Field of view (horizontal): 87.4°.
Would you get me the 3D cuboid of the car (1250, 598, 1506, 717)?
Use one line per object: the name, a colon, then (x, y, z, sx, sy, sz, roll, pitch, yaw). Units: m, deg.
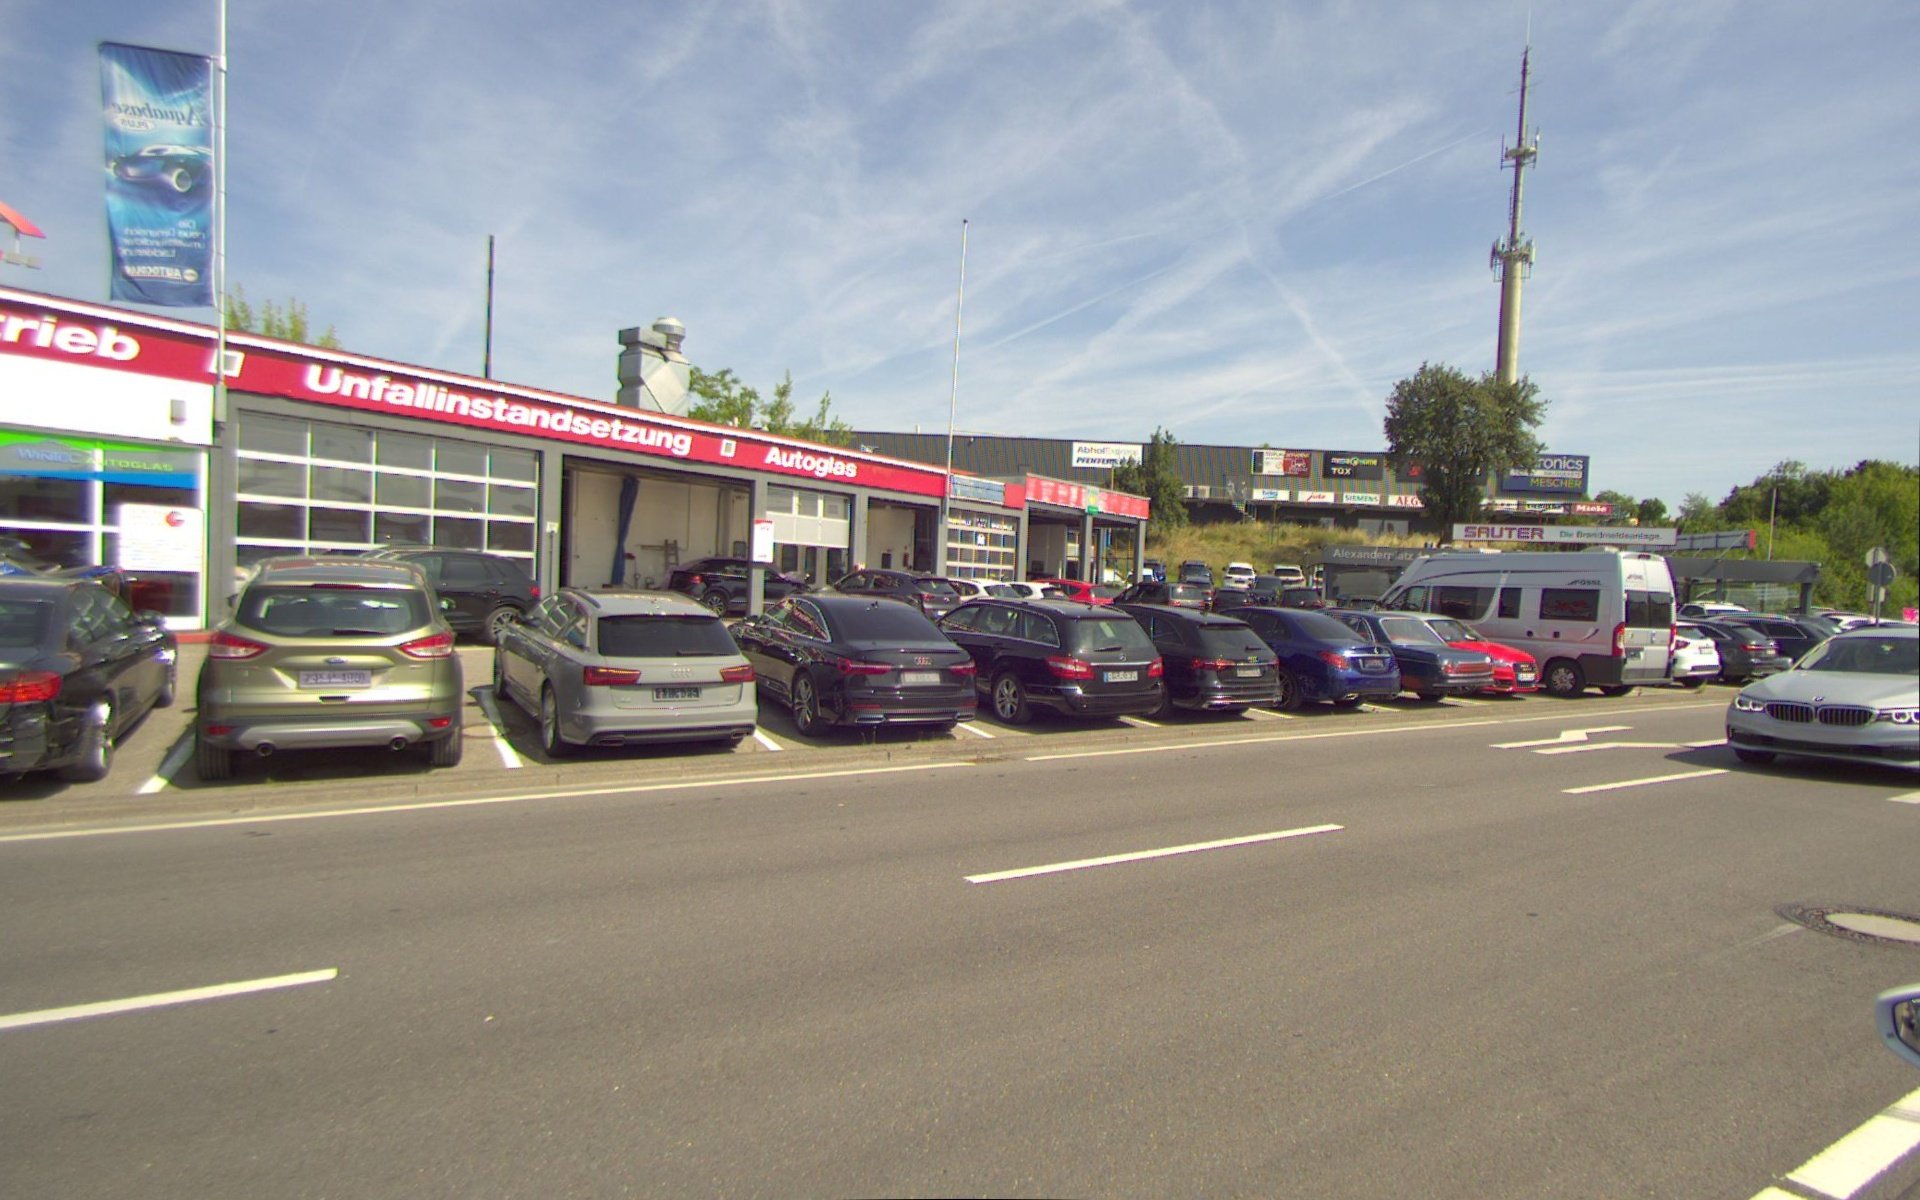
car: (7.038, 0.885, 17.271, 1.689, 1.505, 3.686, 1, 4, -32)

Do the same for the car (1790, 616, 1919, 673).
car: (31.051, 1.479, 34.061, 2.089, 1.716, 4.528, 1, 0, 0)

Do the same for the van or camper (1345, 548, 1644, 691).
van or camper: (12.238, 0.339, 23.556, 2.262, 2.912, 5.863, 1, 1, -30)

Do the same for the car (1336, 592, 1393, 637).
car: (15.405, 0.539, 38.181, 1.736, 1.609, 3.825, 2, 0, 26)

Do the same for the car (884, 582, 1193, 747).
car: (0.825, 0.695, 13.406, 1.752, 1.505, 4.433, 1, 4, -32)

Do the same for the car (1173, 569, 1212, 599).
car: (12.812, -0.847, 55.167, 1.702, 1.470, 3.749, 3, 1, 18)

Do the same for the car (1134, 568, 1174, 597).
car: (10.807, -0.943, 55.764, 1.702, 1.470, 3.749, 3, 1, 18)

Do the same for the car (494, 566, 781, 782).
car: (-3.534, 0.564, 10.407, 1.816, 1.505, 4.252, 1, 4, -32)

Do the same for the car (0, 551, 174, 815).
car: (-7.603, 0.490, 7.963, 1.772, 1.546, 3.686, 1, 4, -32)

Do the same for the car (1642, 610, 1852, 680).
car: (19.854, 1.084, 25.490, 1.822, 1.560, 3.796, 1, 0, -31)

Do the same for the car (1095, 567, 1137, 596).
car: (8.808, -1.040, 56.429, 1.702, 1.470, 3.749, 3, 1, 18)

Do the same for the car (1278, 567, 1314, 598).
car: (17.905, -0.915, 53.681, 1.702, 1.470, 3.749, 3, 1, 18)

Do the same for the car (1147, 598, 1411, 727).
car: (4.844, 0.851, 15.720, 1.689, 1.577, 3.686, 0, 3, -32)

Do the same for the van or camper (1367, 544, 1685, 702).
van or camper: (11.255, 0.360, 20.459, 2.184, 2.768, 5.221, 1, 1, -29)

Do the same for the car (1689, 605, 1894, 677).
car: (21.907, 1.028, 26.604, 1.822, 1.698, 3.796, 1, 0, -31)

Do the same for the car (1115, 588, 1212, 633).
car: (7.688, 0.375, 38.262, 1.744, 1.609, 3.808, 1, 0, -23)

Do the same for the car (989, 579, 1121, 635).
car: (2.968, 0.201, 31.629, 3.767, 1.609, 1.763, 2, 0, 36)

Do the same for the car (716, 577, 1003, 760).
car: (-1.415, 0.651, 12.106, 1.777, 1.505, 4.276, 1, 4, -30)

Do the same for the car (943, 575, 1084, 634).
car: (1.547, 0.112, 29.493, 3.767, 1.609, 1.763, 2, 0, 36)

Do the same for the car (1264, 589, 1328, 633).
car: (13.272, 0.432, 39.854, 1.733, 1.609, 3.831, 1, 0, 9)

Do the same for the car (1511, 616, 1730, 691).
car: (15.058, 1.167, 23.091, 1.822, 1.467, 3.796, 1, 0, -31)

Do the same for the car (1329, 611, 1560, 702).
car: (9.109, 1.000, 19.134, 1.791, 1.500, 3.577, 1, 0, -30)

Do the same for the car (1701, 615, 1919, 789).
car: (10.393, 0.994, 11.051, 4.725, 1.541, 1.900, 1, 0, -30)

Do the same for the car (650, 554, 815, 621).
car: (-6.147, -0.300, 27.356, 3.987, 1.694, 1.887, 1, 0, -43)

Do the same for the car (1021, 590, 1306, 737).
car: (2.733, 0.777, 14.345, 1.782, 1.505, 3.822, 1, 4, -32)

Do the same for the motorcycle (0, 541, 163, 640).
motorcycle: (-12.387, -0.119, 13.859, 0.760, 1.278, 2.046, 2, 0, 38)

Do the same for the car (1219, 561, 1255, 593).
car: (15.119, -1.242, 54.732, 1.702, 1.558, 3.749, 3, 1, 18)

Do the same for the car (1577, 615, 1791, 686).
car: (17.387, 1.158, 24.284, 1.822, 1.467, 3.796, 1, 0, -31)

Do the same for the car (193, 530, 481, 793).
car: (-5.535, 0.337, 9.101, 1.786, 1.740, 3.865, 1, 4, -31)

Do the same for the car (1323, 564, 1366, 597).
car: (18.837, -0.950, 49.275, 1.702, 1.470, 3.749, 3, 1, 18)

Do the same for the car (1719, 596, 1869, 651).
car: (28.092, 0.759, 33.995, 1.807, 1.716, 3.828, 1, 0, -2)

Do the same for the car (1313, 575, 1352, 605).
car: (19.638, -0.517, 53.051, 1.702, 1.470, 3.749, 3, 1, 18)

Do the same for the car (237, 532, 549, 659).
car: (-9.327, -0.040, 16.842, 1.797, 1.696, 4.116, 9, 3, 34)

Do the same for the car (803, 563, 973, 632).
car: (-1.778, -0.080, 24.317, 3.886, 1.553, 1.763, 2, 0, 36)

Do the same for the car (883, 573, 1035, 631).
car: (-0.056, 0.031, 27.053, 3.767, 1.451, 1.763, 2, 0, 36)

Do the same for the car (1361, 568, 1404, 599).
car: (21.993, -0.825, 52.415, 1.702, 1.470, 3.749, 3, 1, 18)
